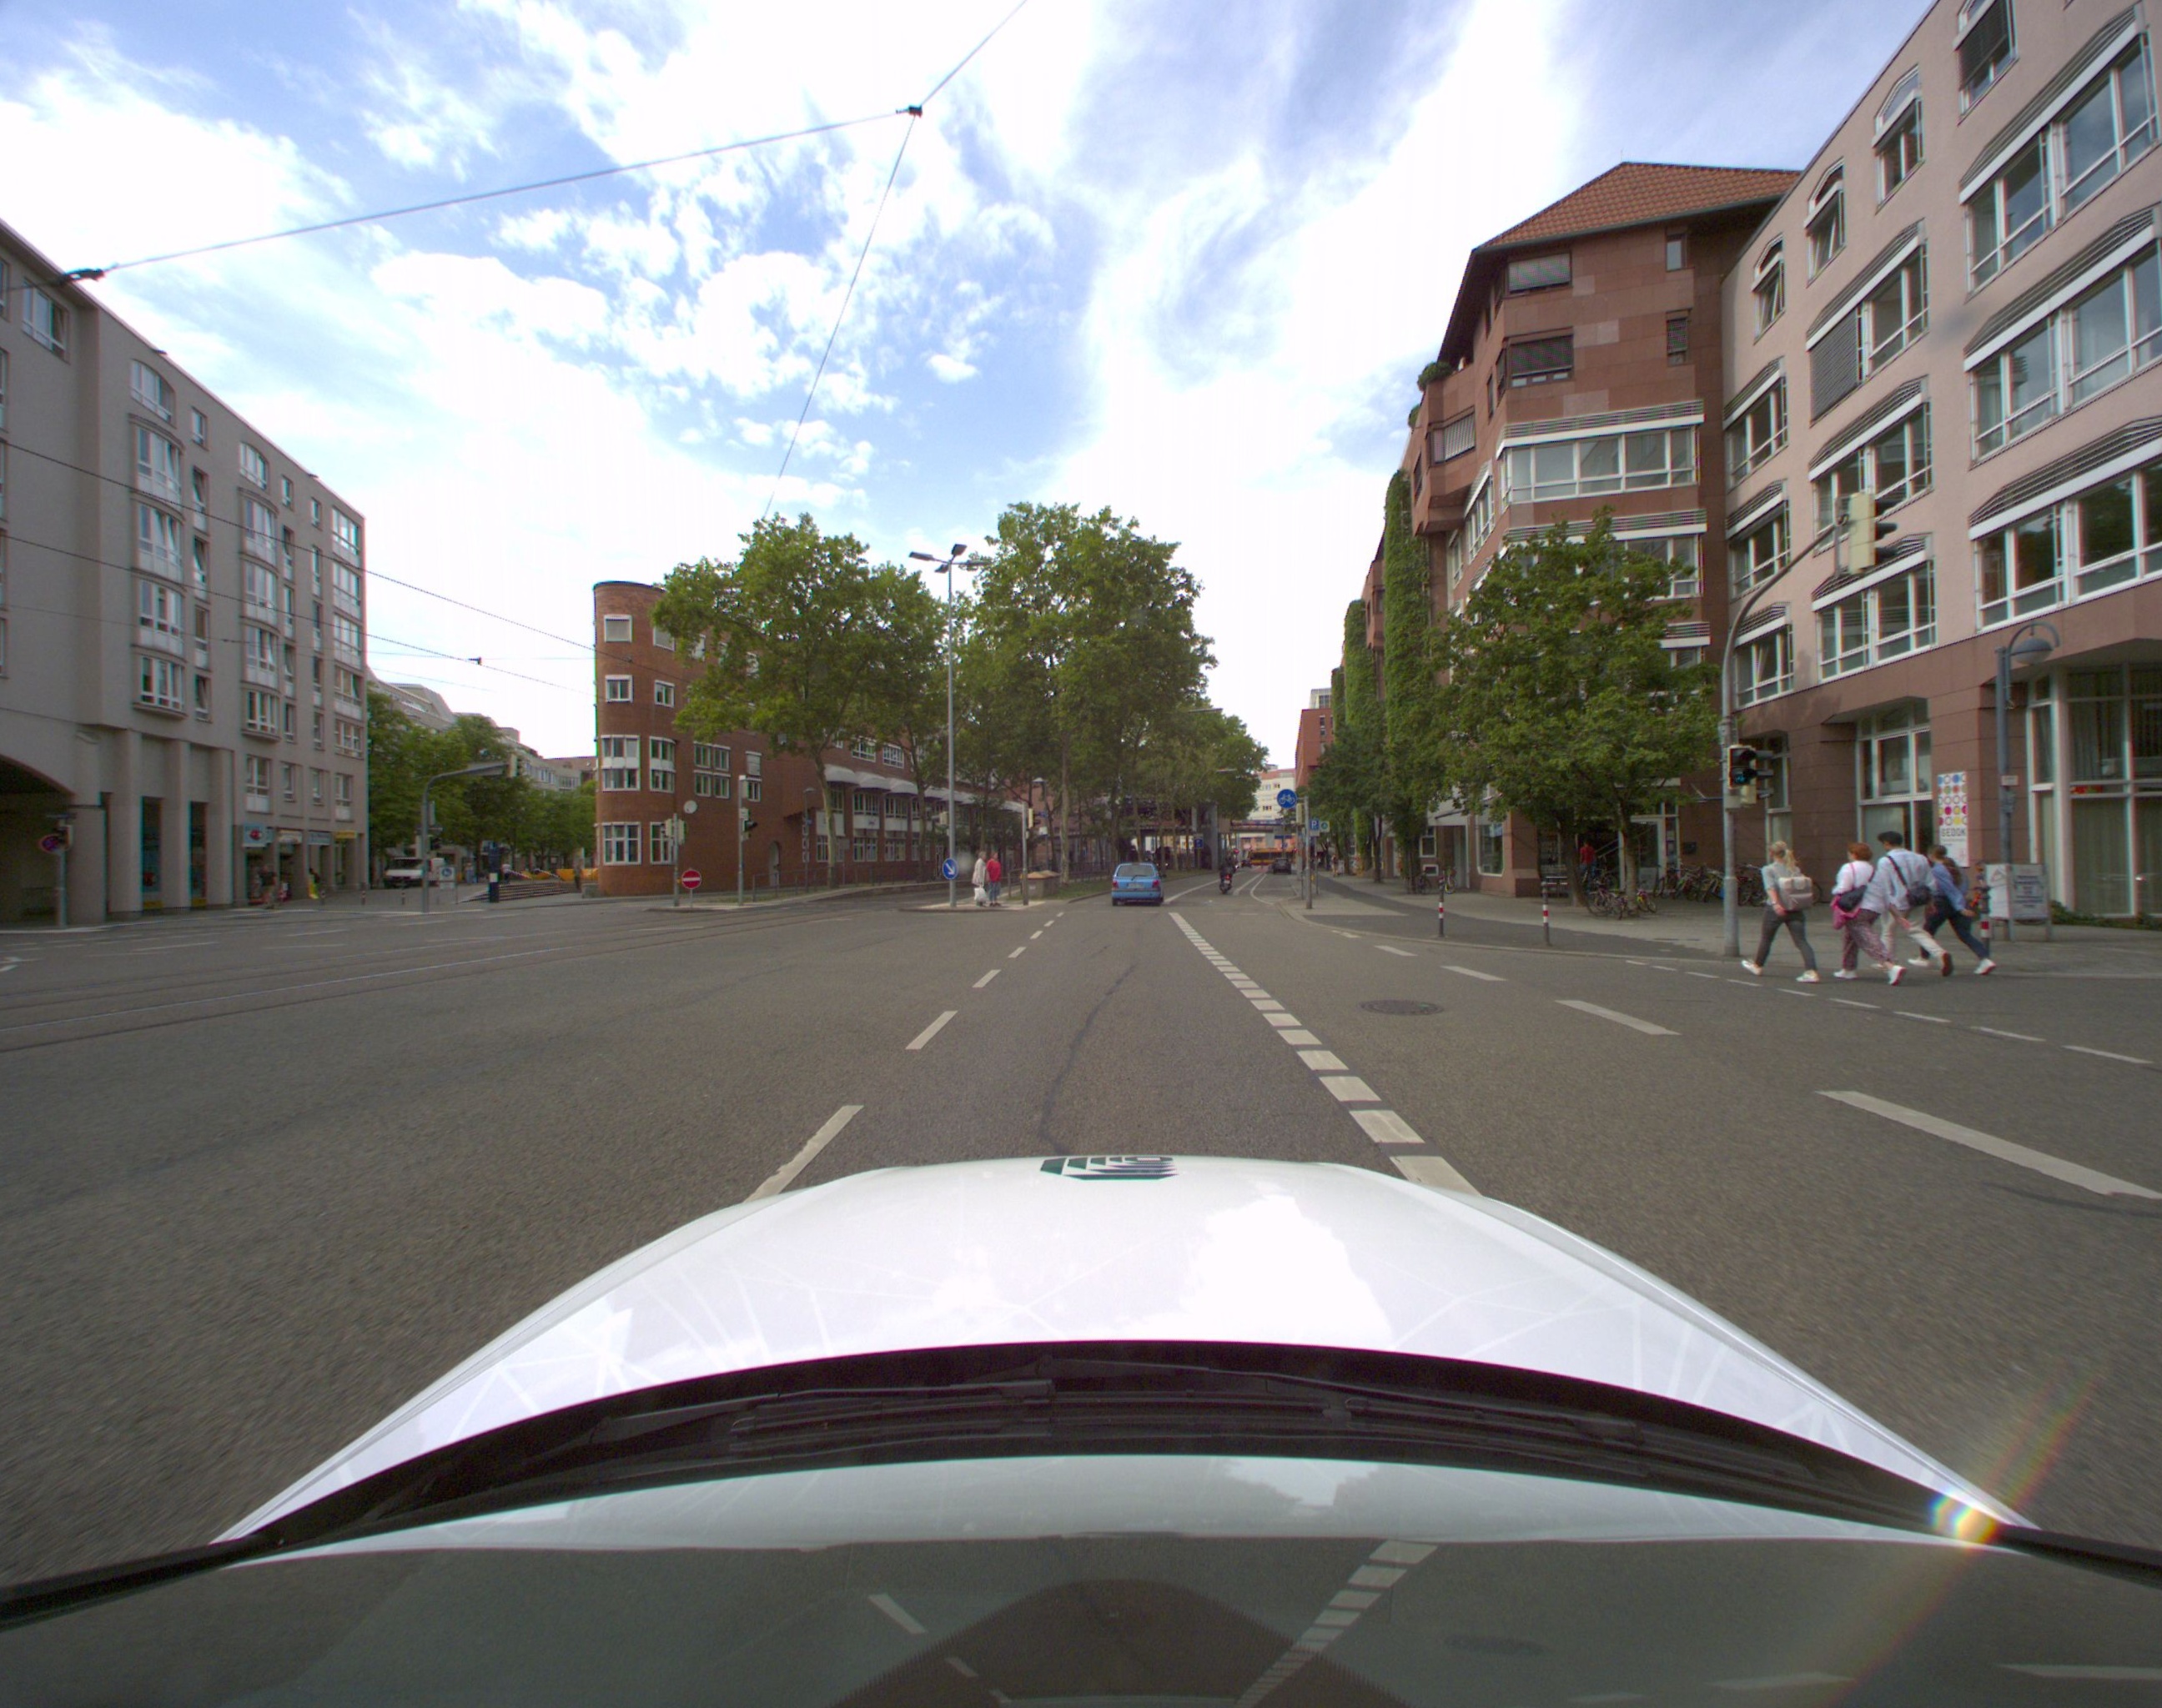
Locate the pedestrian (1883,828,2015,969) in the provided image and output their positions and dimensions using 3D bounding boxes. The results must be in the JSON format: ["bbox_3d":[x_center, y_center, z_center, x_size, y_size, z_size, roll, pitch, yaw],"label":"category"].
[{"bbox_3d":[11.028,0.539,10.386,0.647,1.701,1.025,-1,0,10],"label":"pedestrian"}]

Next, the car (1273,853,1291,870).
[{"bbox_3d":[20.310,0.768,82.268,1.686,1.601,4.016,-1,0,15],"label":"car"}]

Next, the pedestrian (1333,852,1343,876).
[{"bbox_3d":[19.608,0.758,62.082,0.642,1.859,0.785,-1,0,12],"label":"pedestrian"}]

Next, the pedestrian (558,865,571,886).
[{"bbox_3d":[-51.625,2.165,81.435,0.866,2.013,1.334,-1,0,-22],"label":"pedestrian"}]

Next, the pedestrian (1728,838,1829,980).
[{"bbox_3d":[8.280,0.631,9.704,0.514,1.616,0.852,-1,0,8],"label":"pedestrian"}]

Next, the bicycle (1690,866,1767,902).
[{"bbox_3d":[18.845,0.877,23.718,1.719,1.008,0.480,-1,-1,9],"label":"bicycle"}]

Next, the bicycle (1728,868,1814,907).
[{"bbox_3d":[18.493,0.887,21.851,1.719,1.008,0.548,-1,-1,9],"label":"bicycle"}]

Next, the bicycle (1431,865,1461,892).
[{"bbox_3d":[14.368,0.949,32.115,0.613,1.008,1.739,-1,0,8],"label":"bicycle"}]

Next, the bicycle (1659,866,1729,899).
[{"bbox_3d":[19.000,0.882,25.261,1.719,1.008,0.432,-1,-1,9],"label":"bicycle"}]

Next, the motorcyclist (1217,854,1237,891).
[{"bbox_3d":[6.276,0.786,35.061,0.755,1.519,1.020,-2,-1,8],"label":"motorcyclist"}]

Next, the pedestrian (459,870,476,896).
[{"bbox_3d":[-40.902,1.924,54.281,0.695,1.671,0.825,-1,-1,-24],"label":"pedestrian"}]

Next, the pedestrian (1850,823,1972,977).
[{"bbox_3d":[10.309,0.552,10.150,0.672,1.828,0.853,-1,0,9],"label":"pedestrian"}]

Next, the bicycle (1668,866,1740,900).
[{"bbox_3d":[18.936,0.880,24.761,1.719,1.008,0.438,-1,-1,9],"label":"bicycle"}]

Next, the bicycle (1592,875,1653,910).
[{"bbox_3d":[14.789,1.056,22.279,1.287,0.868,0.456,-4,-2,24],"label":"bicycle"}]

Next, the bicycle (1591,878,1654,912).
[{"bbox_3d":[14.198,1.071,21.367,1.288,0.838,0.456,-1,-1,20],"label":"bicycle"}]

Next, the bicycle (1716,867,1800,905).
[{"bbox_3d":[18.627,0.882,22.432,1.719,1.008,0.548,-1,-1,9],"label":"bicycle"}]

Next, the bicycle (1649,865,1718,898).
[{"bbox_3d":[19.044,0.880,25.751,1.719,1.008,0.473,-1,-1,9],"label":"bicycle"}]

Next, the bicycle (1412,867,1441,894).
[{"bbox_3d":[13.528,1.013,31.916,0.613,1.008,1.739,-1,0,8],"label":"bicycle"}]

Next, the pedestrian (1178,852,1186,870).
[{"bbox_3d":[10.618,0.754,85.519,0.723,1.859,0.873,-1,-1,15],"label":"pedestrian"}]

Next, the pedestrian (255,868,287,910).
[{"bbox_3d":[-32.654,1.399,32.837,0.676,1.679,0.747,-1,0,-25],"label":"pedestrian"}]

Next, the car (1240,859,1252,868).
[{"bbox_3d":[29.324,1.660,144.734,1.873,1.624,4.016,-1,0,15],"label":"car"}]

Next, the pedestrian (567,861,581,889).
[{"bbox_3d":[-33.773,1.374,54.230,0.695,1.817,0.650,-1,-1,-24],"label":"pedestrian"}]

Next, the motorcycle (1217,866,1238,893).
[{"bbox_3d":[6.292,1.089,35.077,0.763,1.107,2.213,-2,-1,8],"label":"motorcycle"}]

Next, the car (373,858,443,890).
[{"bbox_3d":[-42.730,1.243,51.815,2.002,1.937,4.909,-1,0,-22],"label":"car"}]

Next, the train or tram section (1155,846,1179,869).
[{"bbox_3d":[12.755,0.500,120.159,2.372,3.254,8.850,-2,-1,13],"label":"train or tram section"}]

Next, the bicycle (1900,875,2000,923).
[{"bbox_3d":[17.289,0.877,16.234,1.303,0.915,0.478,-1,0,40],"label":"bicycle"}]

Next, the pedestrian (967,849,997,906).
[{"bbox_3d":[-3.035,0.724,25.010,0.548,1.718,0.895,-1,-1,20],"label":"pedestrian"}]

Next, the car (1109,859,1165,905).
[{"bbox_3d":[1.962,0.906,27.496,1.632,1.386,3.851,-1,0,7],"label":"car"}]

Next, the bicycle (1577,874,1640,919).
[{"bbox_3d":[13.106,1.035,20.278,0.613,1.008,1.739,-1,0,7],"label":"bicycle"}]

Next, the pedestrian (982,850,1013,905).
[{"bbox_3d":[-2.653,0.731,25.926,0.547,1.718,0.896,-1,-1,29],"label":"pedestrian"}]

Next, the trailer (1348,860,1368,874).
[{"bbox_3d":[21.611,1.041,63.507,0.982,1.059,1.619,-1,0,38],"label":"trailer"}]

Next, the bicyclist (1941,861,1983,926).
[{"bbox_3d":[17.430,0.766,16.120,0.491,1.244,0.483,-1,0,40],"label":"bicyclist"}]

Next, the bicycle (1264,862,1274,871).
[{"bbox_3d":[21.791,1.446,94.379,0.562,1.008,2.008,-1,0,-1],"label":"bicycle"}]

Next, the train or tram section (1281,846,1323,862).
[{"bbox_3d":[46.787,-0.027,172.682,8.336,3.254,2.388,-1,-1,-11],"label":"train or tram section"}]

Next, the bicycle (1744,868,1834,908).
[{"bbox_3d":[18.442,0.888,21.243,1.719,1.008,0.548,-1,-1,9],"label":"bicycle"}]

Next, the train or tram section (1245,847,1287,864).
[{"bbox_3d":[38.707,0.251,170.090,8.830,3.254,2.377,-1,-1,-24],"label":"train or tram section"}]

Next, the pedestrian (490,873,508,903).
[{"bbox_3d":[-38.695,2.238,54.128,0.793,1.964,0.800,-1,0,-22],"label":"pedestrian"}]

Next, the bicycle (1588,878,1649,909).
[{"bbox_3d":[14.459,1.052,21.930,1.287,0.814,0.447,-1,-1,25],"label":"bicycle"}]

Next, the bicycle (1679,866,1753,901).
[{"bbox_3d":[18.897,0.877,24.245,1.719,1.008,0.473,-1,-1,9],"label":"bicycle"}]

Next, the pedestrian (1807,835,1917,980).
[{"bbox_3d":[9.092,0.602,9.512,0.513,1.616,0.853,-1,0,9],"label":"pedestrian"}]

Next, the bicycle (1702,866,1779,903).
[{"bbox_3d":[18.795,0.876,23.230,1.719,1.008,0.425,-1,-1,9],"label":"bicycle"}]
